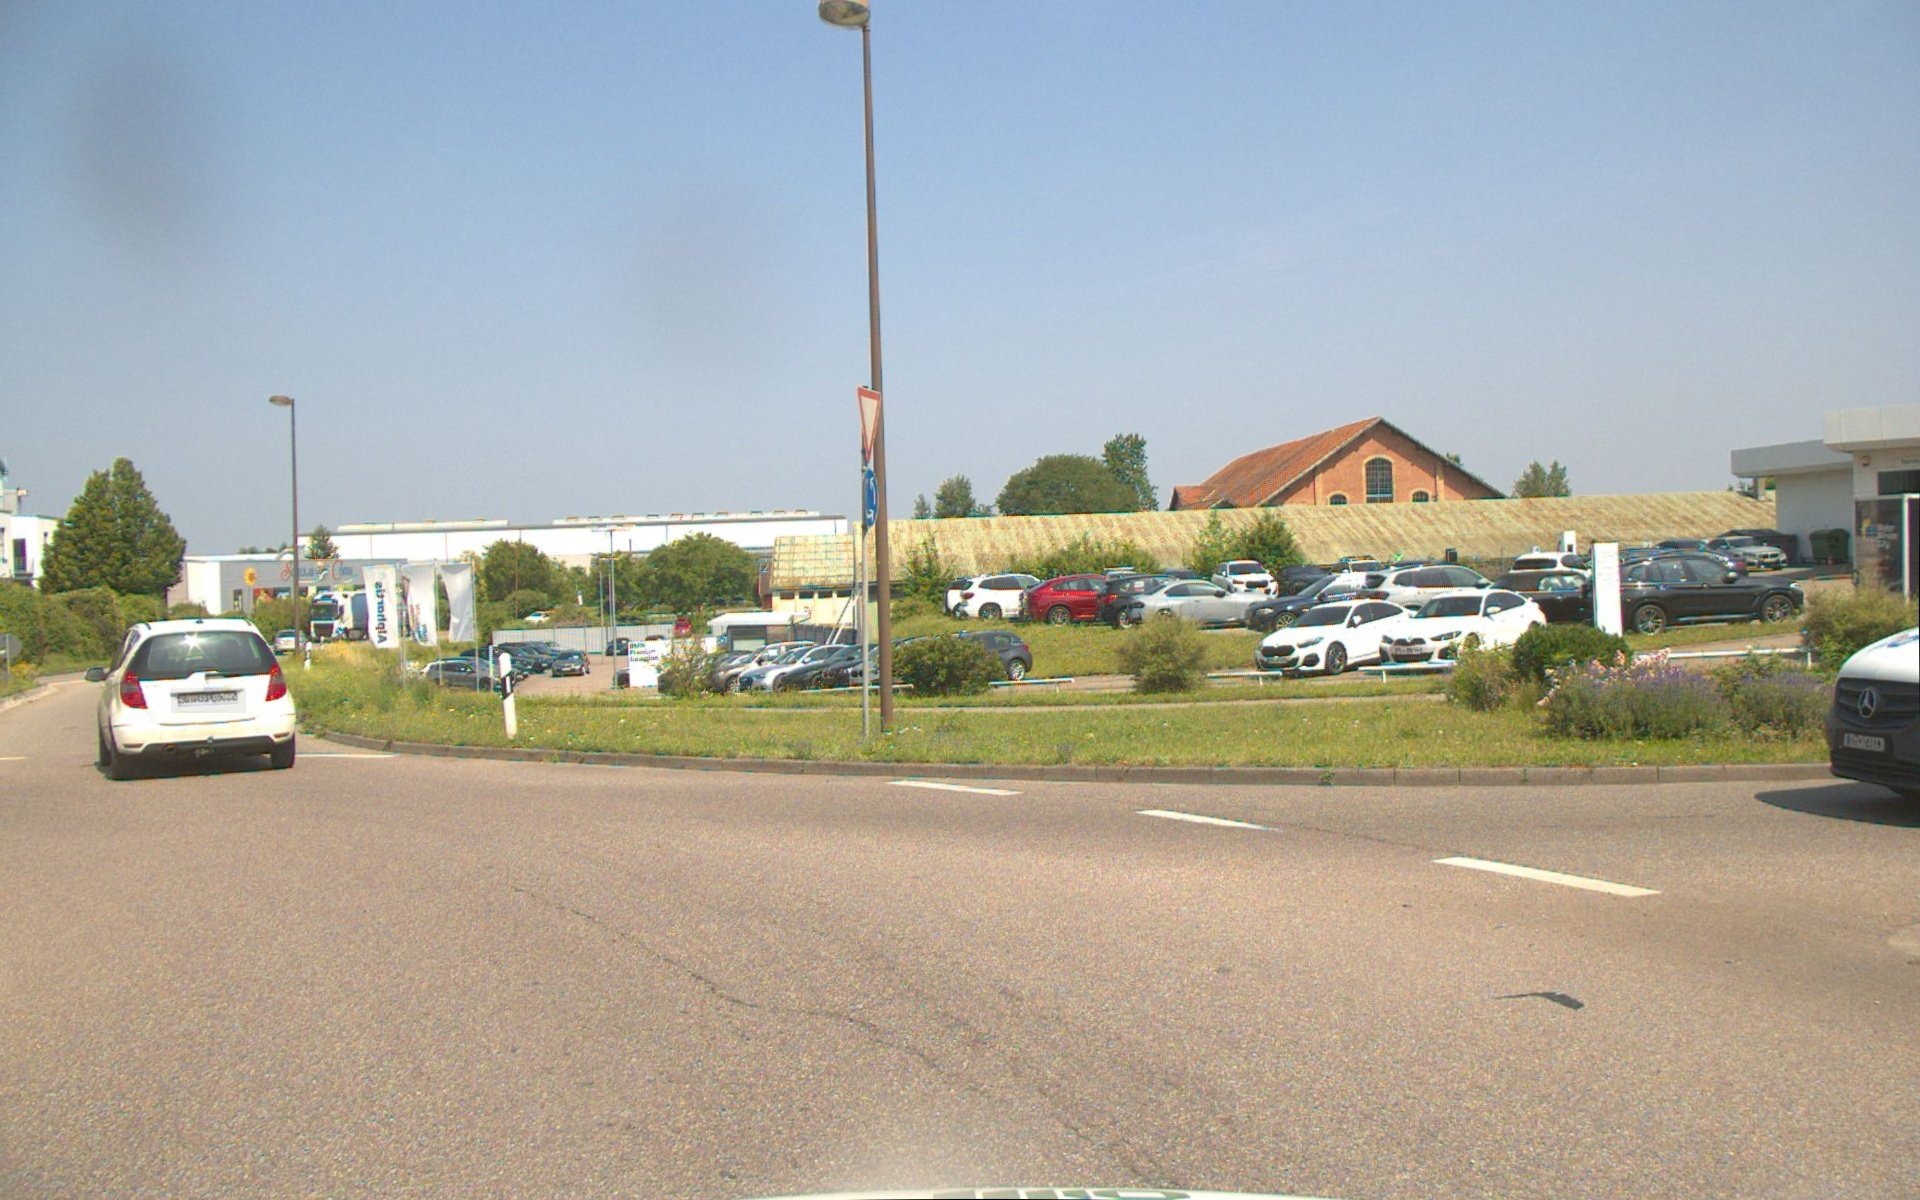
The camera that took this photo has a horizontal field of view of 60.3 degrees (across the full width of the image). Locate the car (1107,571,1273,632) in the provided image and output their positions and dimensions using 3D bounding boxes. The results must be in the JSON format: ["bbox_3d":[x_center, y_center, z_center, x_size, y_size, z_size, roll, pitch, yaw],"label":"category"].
[{"bbox_3d":[6.638,0.024,47.986,4.369,1.526,1.947,-3,1,-7],"label":"car"}]

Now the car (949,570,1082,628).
[{"bbox_3d":[1.912,-0.035,57.658,4.369,1.777,1.836,-3,0,-7],"label":"car"}]

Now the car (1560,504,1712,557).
[{"bbox_3d":[23.045,-2.367,56.496,4.364,1.549,1.949,-3,0,-2],"label":"car"}]

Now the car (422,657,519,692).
[{"bbox_3d":[-23.204,3.534,78.405,4.070,1.550,1.691,-2,-1,13],"label":"car"}]

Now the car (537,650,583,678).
[{"bbox_3d":[-23.871,3.800,98.925,2.094,1.483,4.525,-1,-1,-7],"label":"car"}]

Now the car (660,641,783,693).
[{"bbox_3d":[-8.663,2.421,60.071,3.946,1.579,1.980,-3,-2,-30],"label":"car"}]

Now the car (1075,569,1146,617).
[{"bbox_3d":[5.594,-0.256,62.008,1.879,1.624,4.300,-3,0,-4],"label":"car"}]

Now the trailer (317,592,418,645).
[{"bbox_3d":[-50.851,1.638,142.510,2.614,4.316,14.571,-1,-1,3],"label":"trailer"}]

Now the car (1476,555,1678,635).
[{"bbox_3d":[14.349,-0.151,38.605,3.920,1.525,1.947,-4,2,-7],"label":"car"}]

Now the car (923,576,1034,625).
[{"bbox_3d":[0.652,0.026,59.868,3.802,1.559,1.766,-3,0,-7],"label":"car"}]

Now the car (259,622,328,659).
[{"bbox_3d":[-39.444,2.382,98.010,1.951,2.049,4.003,-1,-1,10],"label":"car"}]

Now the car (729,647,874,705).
[{"bbox_3d":[-5.067,2.427,52.934,4.197,1.491,1.858,-4,-2,-26],"label":"car"}]

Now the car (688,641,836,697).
[{"bbox_3d":[-6.938,2.431,57.956,4.709,1.534,1.983,-4,-2,-26],"label":"car"}]

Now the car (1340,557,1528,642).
[{"bbox_3d":[11.597,-0.029,40.598,3.920,1.780,1.947,-4,1,-7],"label":"car"}]

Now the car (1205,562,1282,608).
[{"bbox_3d":[10.918,-0.566,64.038,1.879,1.624,4.300,-3,0,-4],"label":"car"}]

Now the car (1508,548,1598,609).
[{"bbox_3d":[17.484,-0.659,48.657,1.622,1.613,4.259,-2,1,31],"label":"car"}]

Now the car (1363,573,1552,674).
[{"bbox_3d":[10.185,0.446,33.657,1.738,1.597,4.637,-2,3,43],"label":"car"}]

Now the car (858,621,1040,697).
[{"bbox_3d":[-0.270,1.570,44.431,4.521,1.593,1.899,-4,-2,-35],"label":"car"}]

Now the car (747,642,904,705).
[{"bbox_3d":[-4.092,2.237,50.579,4.383,1.490,1.900,-4,-2,-34],"label":"car"}]

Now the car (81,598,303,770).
[{"bbox_3d":[-8.531,0.928,18.201,1.764,1.631,3.850,-1,-3,-32],"label":"car"}]

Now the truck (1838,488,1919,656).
[{"bbox_3d":[18.051,-0.600,27.805,5.495,2.711,1.949,-3,1,-1],"label":"truck"}]

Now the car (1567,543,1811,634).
[{"bbox_3d":[15.631,-0.227,35.583,4.329,1.525,1.947,-5,0,-7],"label":"car"}]

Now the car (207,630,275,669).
[{"bbox_3d":[-29.732,2.019,68.527,1.797,1.496,4.394,-1,-1,-13],"label":"car"}]

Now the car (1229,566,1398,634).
[{"bbox_3d":[9.139,-0.017,42.942,3.915,1.553,1.949,-3,1,-1],"label":"car"}]

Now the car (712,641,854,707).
[{"bbox_3d":[-5.883,2.458,54.895,4.197,1.778,1.983,-4,-2,-26],"label":"car"}]

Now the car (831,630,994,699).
[{"bbox_3d":[-1.326,1.807,46.782,4.214,1.508,1.899,-4,-2,-35],"label":"car"}]

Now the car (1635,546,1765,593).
[{"bbox_3d":[22.845,-0.936,51.132,1.637,1.297,3.306,-3,1,-32],"label":"car"}]

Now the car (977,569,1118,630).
[{"bbox_3d":[2.885,-0.025,55.036,4.369,1.777,1.836,-3,0,-7],"label":"car"}]

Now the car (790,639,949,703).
[{"bbox_3d":[-2.649,2.080,48.669,4.197,1.437,1.907,-5,-2,-26],"label":"car"}]

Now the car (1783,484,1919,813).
[{"bbox_3d":[8.279,0.243,10.560,5.107,1.972,1.860,-1,-1,-1],"label":"car"}]

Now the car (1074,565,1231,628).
[{"bbox_3d":[5.810,-0.124,50.299,4.369,1.663,1.947,-3,0,-7],"label":"car"}]

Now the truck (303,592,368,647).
[{"bbox_3d":[-51.232,1.561,135.862,2.460,4.332,6.116,-3,0,4],"label":"truck"}]

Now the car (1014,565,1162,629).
[{"bbox_3d":[4.051,-0.097,52.913,4.369,1.777,1.947,-3,0,-7],"label":"car"}]

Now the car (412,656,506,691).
[{"bbox_3d":[-24.653,3.613,81.461,4.070,1.550,1.753,-1,-1,9],"label":"car"}]

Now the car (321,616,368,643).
[{"bbox_3d":[-48.169,2.292,129.433,1.952,2.049,4.001,-1,-1,3],"label":"car"}]

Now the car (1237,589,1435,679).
[{"bbox_3d":[8.106,0.711,35.445,4.537,1.598,1.742,-4,0,-41],"label":"car"}]

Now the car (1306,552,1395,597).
[{"bbox_3d":[15.255,-0.968,64.833,2.145,1.624,4.300,-3,0,-4],"label":"car"}]
